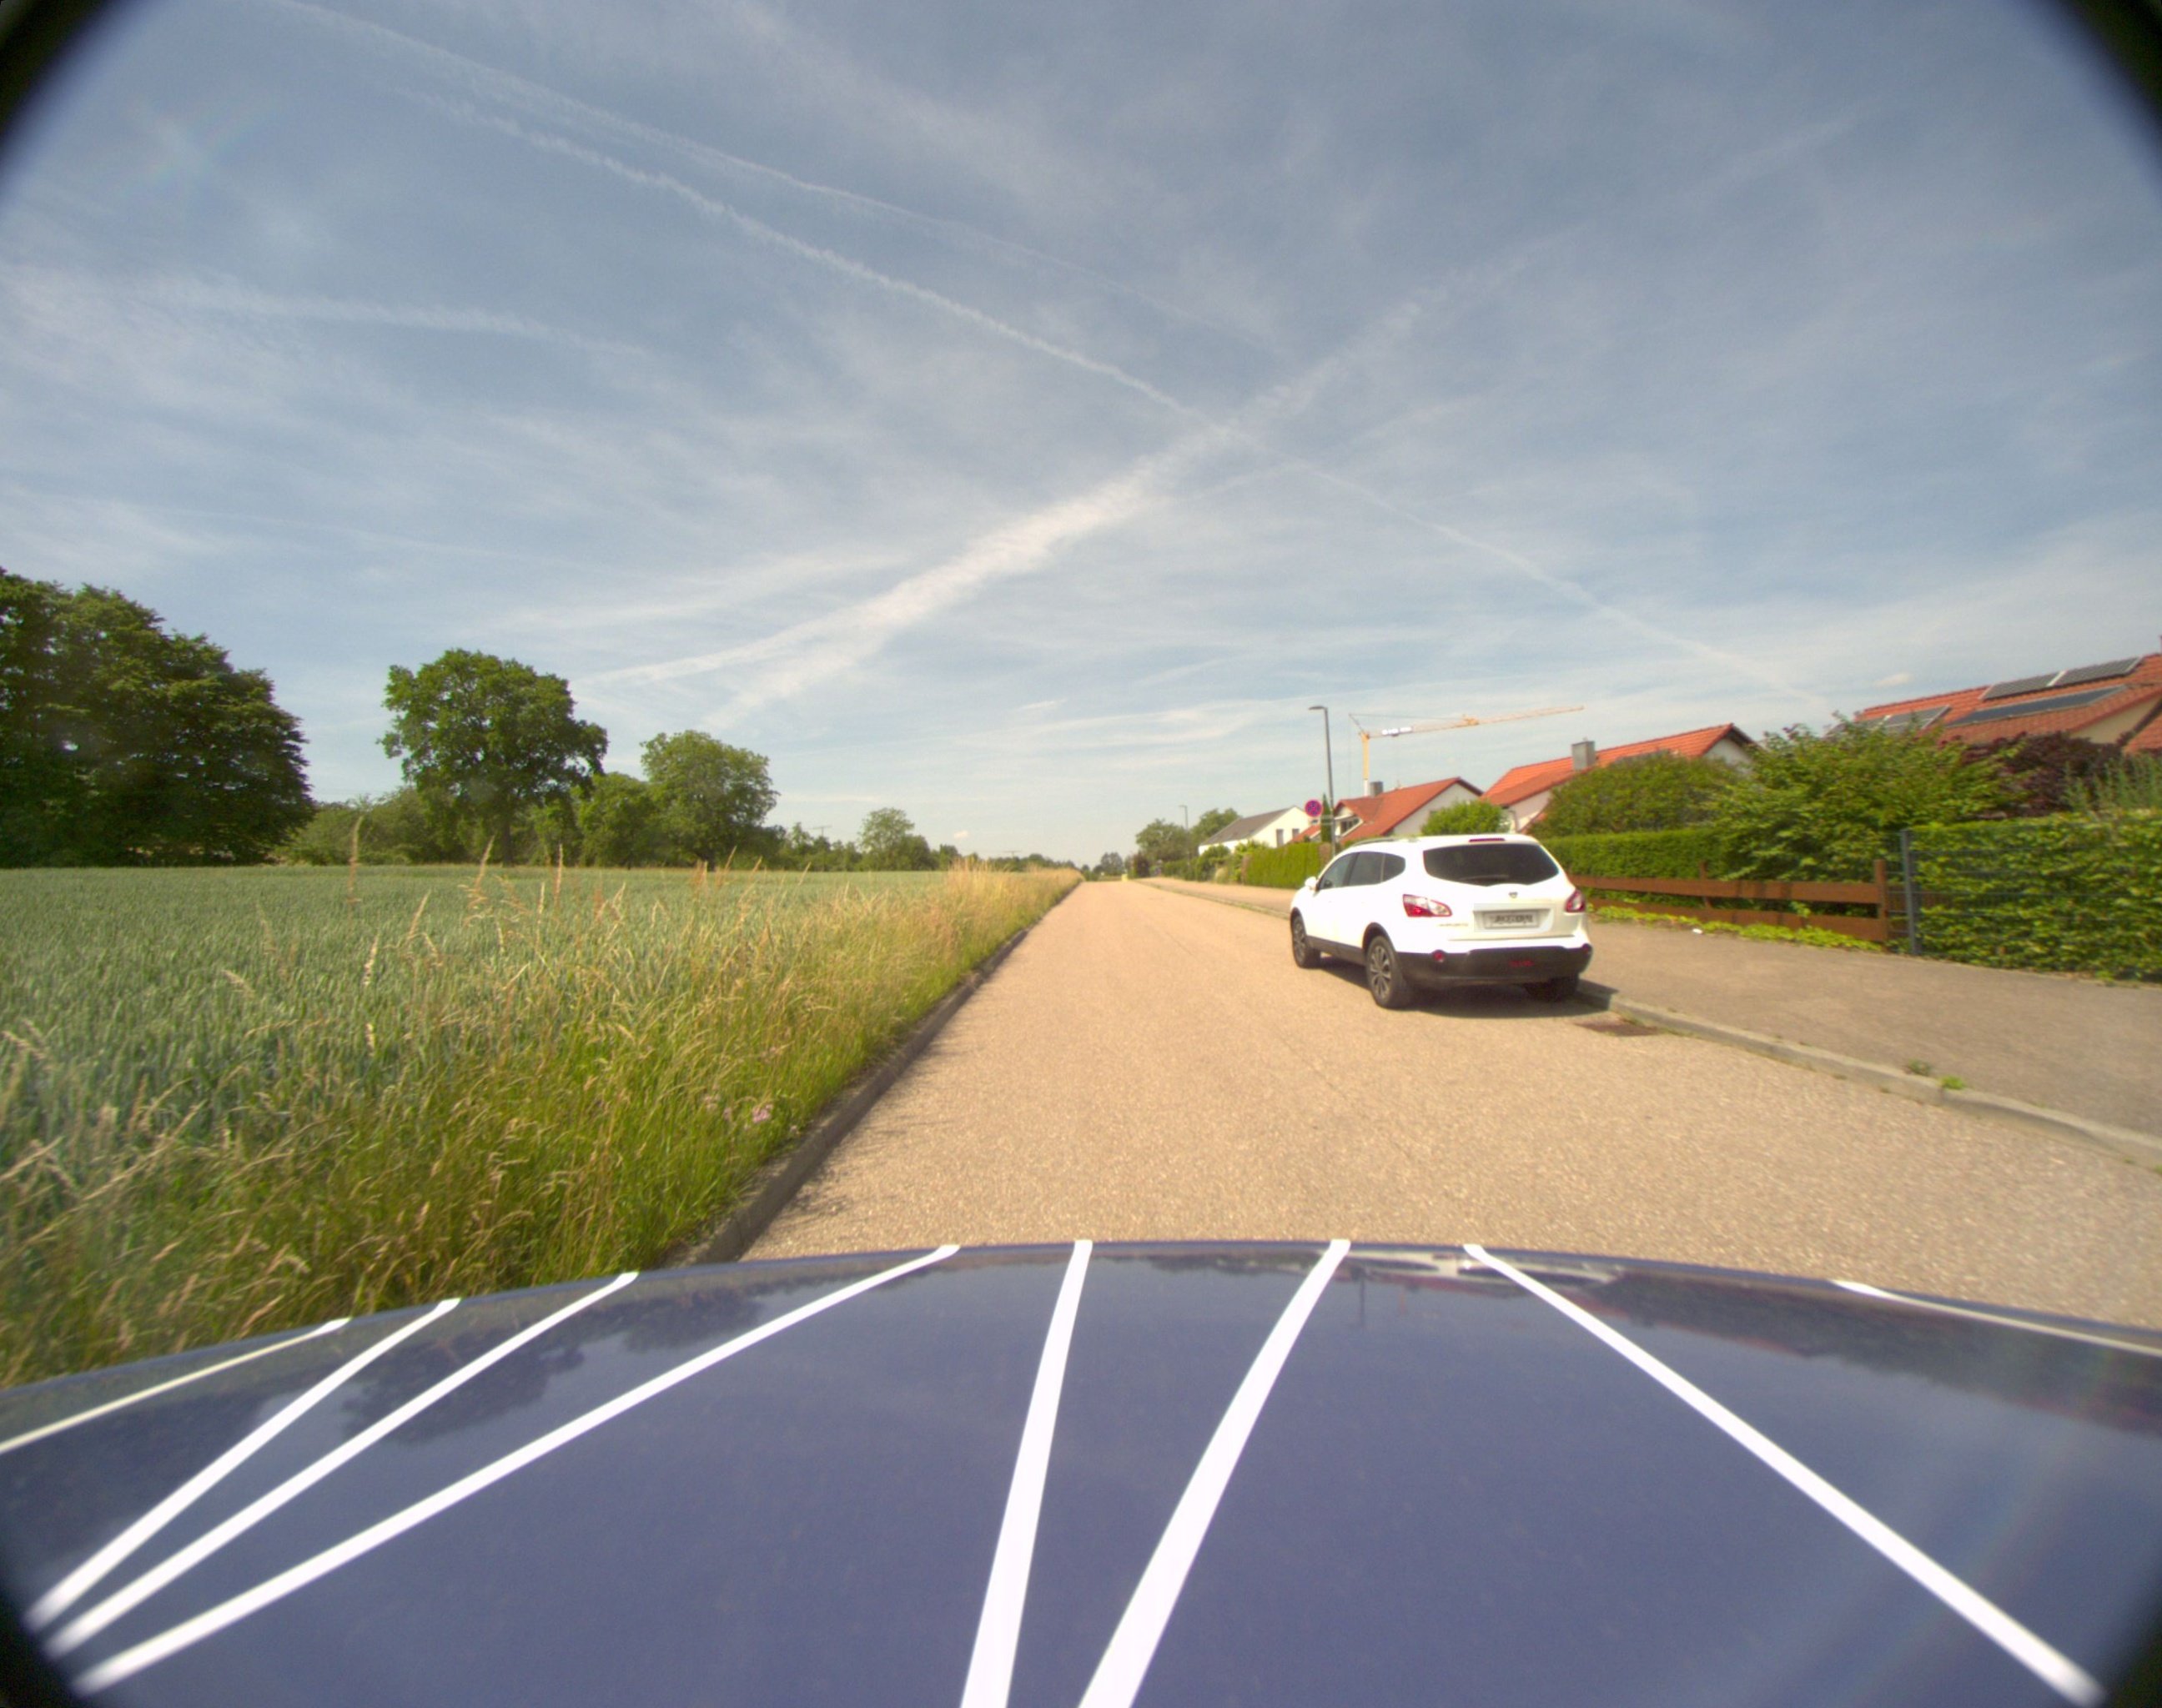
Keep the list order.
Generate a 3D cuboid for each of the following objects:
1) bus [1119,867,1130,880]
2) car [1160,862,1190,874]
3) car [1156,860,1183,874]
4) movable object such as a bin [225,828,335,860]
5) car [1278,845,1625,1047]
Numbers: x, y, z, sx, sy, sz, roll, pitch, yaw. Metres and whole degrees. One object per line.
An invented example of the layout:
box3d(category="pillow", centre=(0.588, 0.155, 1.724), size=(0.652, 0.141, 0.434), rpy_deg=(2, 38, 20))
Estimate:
box3d(category="bus", centre=(13.435, 5.918, 233.081), size=(3.066, 3.556, 9.459), rpy_deg=(-2, -1, 4))
box3d(category="car", centre=(12.848, 1.910, 103.970), size=(3.884, 1.313, 1.801), rpy_deg=(-3, -1, 6))
box3d(category="car", centre=(13.100, 1.883, 112.612), size=(3.884, 1.801, 1.801), rpy_deg=(-4, -1, 6))
box3d(category="movable object such as a bin", centre=(-65.399, -0.818, 62.100), size=(6.569, 2.355, 2.446), rpy_deg=(2, 0, 3))
box3d(category="car", centre=(3.656, 0.775, 8.515), size=(1.738, 1.623, 4.352), rpy_deg=(-2, 0, 0))
